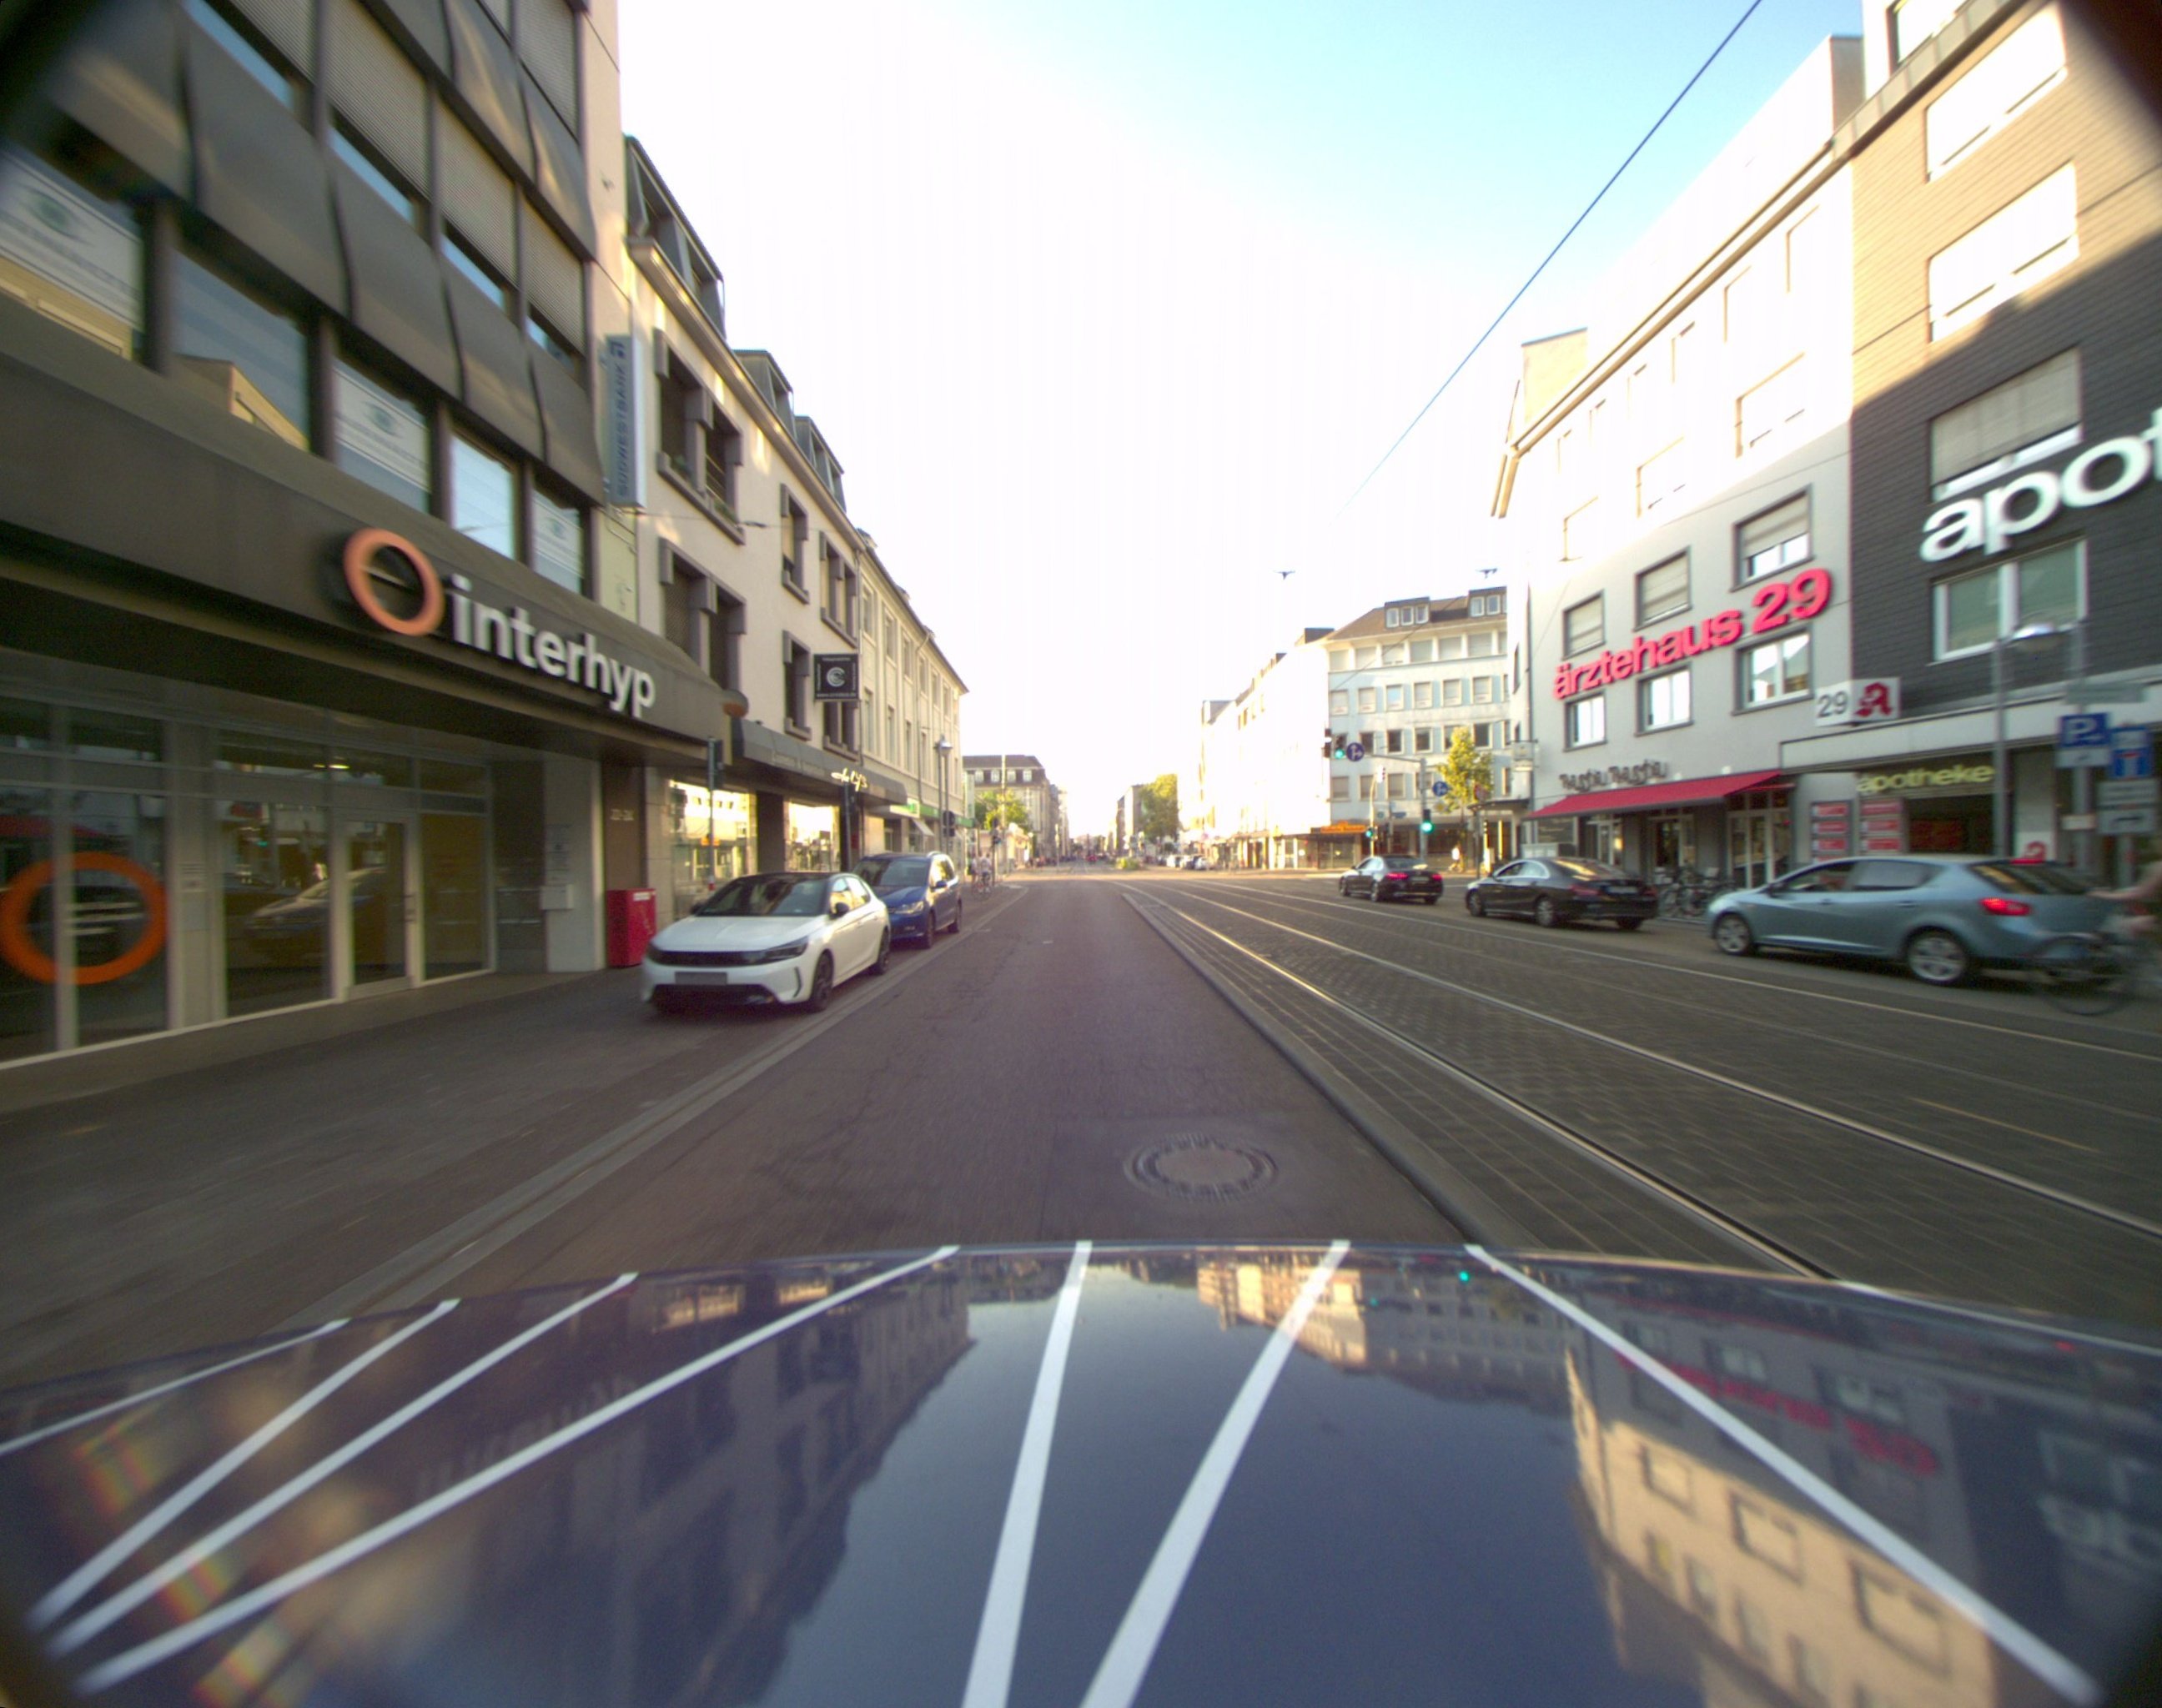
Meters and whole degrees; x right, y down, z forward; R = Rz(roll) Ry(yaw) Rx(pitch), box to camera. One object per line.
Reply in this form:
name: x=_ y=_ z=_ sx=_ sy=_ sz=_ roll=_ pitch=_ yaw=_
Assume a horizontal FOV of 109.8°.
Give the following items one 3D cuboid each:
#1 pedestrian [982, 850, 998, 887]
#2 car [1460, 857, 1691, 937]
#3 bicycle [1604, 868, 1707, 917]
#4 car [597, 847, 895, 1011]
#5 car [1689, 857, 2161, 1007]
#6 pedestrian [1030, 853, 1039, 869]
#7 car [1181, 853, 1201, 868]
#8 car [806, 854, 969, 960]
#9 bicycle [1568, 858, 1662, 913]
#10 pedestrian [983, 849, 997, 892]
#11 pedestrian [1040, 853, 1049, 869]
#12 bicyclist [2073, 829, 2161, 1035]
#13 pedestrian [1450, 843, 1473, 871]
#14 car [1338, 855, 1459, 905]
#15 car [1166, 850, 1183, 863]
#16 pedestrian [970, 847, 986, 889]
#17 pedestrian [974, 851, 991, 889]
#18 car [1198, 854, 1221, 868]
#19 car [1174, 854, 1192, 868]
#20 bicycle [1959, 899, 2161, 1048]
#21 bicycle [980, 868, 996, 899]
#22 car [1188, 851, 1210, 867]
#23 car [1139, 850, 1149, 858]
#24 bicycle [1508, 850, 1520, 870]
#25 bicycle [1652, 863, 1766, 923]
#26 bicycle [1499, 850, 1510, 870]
pedestrian: x=-4.502 y=0.715 z=37.487 sx=0.671 sy=1.768 sz=0.647 roll=-1 pitch=1 yaw=-1
car: x=10.030 y=0.789 z=15.956 sx=1.919 sy=1.378 sz=4.563 roll=1 pitch=0 yaw=1
bicycle: x=13.331 y=0.889 z=17.656 sx=1.860 sy=0.978 sz=0.607 roll=-4 pitch=1 yaw=0
car: x=-3.539 y=0.688 z=8.888 sx=1.770 sy=1.476 sz=3.872 roll=1 pitch=0 yaw=0
car: x=9.876 y=0.750 z=9.226 sx=1.762 sy=1.378 sz=4.061 roll=1 pitch=0 yaw=1
pedestrian: x=-4.819 y=0.733 z=79.097 sx=0.806 sy=1.603 sz=0.993 roll=-2 pitch=1 yaw=0
car: x=12.574 y=0.698 z=86.873 sx=1.847 sy=1.625 sz=4.001 roll=-1 pitch=0 yaw=3
car: x=-3.509 y=0.865 z=14.741 sx=1.919 sy=1.707 sz=4.563 roll=1 pitch=0 yaw=1
bicycle: x=13.413 y=0.780 z=19.106 sx=1.860 sy=1.219 sz=0.607 roll=-4 pitch=1 yaw=0
pedestrian: x=-4.104 y=0.751 z=34.177 sx=0.576 sy=1.917 sz=0.496 roll=-1 pitch=1 yaw=-10
pedestrian: x=-3.760 y=0.701 z=79.178 sx=0.806 sy=1.603 sz=0.993 roll=-2 pitch=1 yaw=0
bicyclist: x=8.511 y=0.586 z=5.850 sx=0.695 sy=1.556 sz=0.799 roll=-1 pitch=1 yaw=-1
pedestrian: x=24.424 y=0.187 z=48.765 sx=0.808 sy=1.716 sz=0.991 roll=-4 pitch=2 yaw=-38
car: x=9.758 y=0.741 z=23.808 sx=1.919 sy=1.378 sz=4.563 roll=1 pitch=0 yaw=1
car: x=12.289 y=0.293 z=99.965 sx=1.847 sy=1.625 sz=4.001 roll=-1 pitch=0 yaw=3
pedestrian: x=-4.675 y=0.634 z=34.605 sx=0.640 sy=1.917 sz=0.529 roll=-1 pitch=1 yaw=-11
pedestrian: x=-4.603 y=0.732 z=35.476 sx=0.639 sy=1.735 sz=0.699 roll=-1 pitch=1 yaw=2
car: x=12.766 y=0.680 z=75.758 sx=1.847 sy=1.287 sz=4.001 roll=-1 pitch=0 yaw=3
car: x=12.720 y=0.828 z=94.560 sx=1.847 sy=1.625 sz=4.001 roll=-1 pitch=0 yaw=3
bicycle: x=8.518 y=0.945 z=6.021 sx=0.695 sy=1.028 sz=2.081 roll=-1 pitch=0 yaw=-1
bicycle: x=-3.473 y=1.101 z=28.426 sx=0.479 sy=1.083 sz=1.647 roll=0 pitch=1 yaw=-3
car: x=12.437 y=0.520 z=80.418 sx=1.847 sy=1.625 sz=4.001 roll=-1 pitch=0 yaw=3
car: x=13.269 y=0.079 z=159.513 sx=1.847 sy=1.625 sz=4.001 roll=-1 pitch=0 yaw=3
bicycle: x=26.404 y=0.344 z=46.365 sx=0.469 sy=1.196 sz=1.922 roll=-1 pitch=0 yaw=26
bicycle: x=13.399 y=0.820 z=16.234 sx=1.860 sy=1.128 sz=0.607 roll=-4 pitch=1 yaw=0
bicycle: x=25.892 y=0.344 z=46.429 sx=0.469 sy=1.196 sz=1.922 roll=-1 pitch=0 yaw=26
